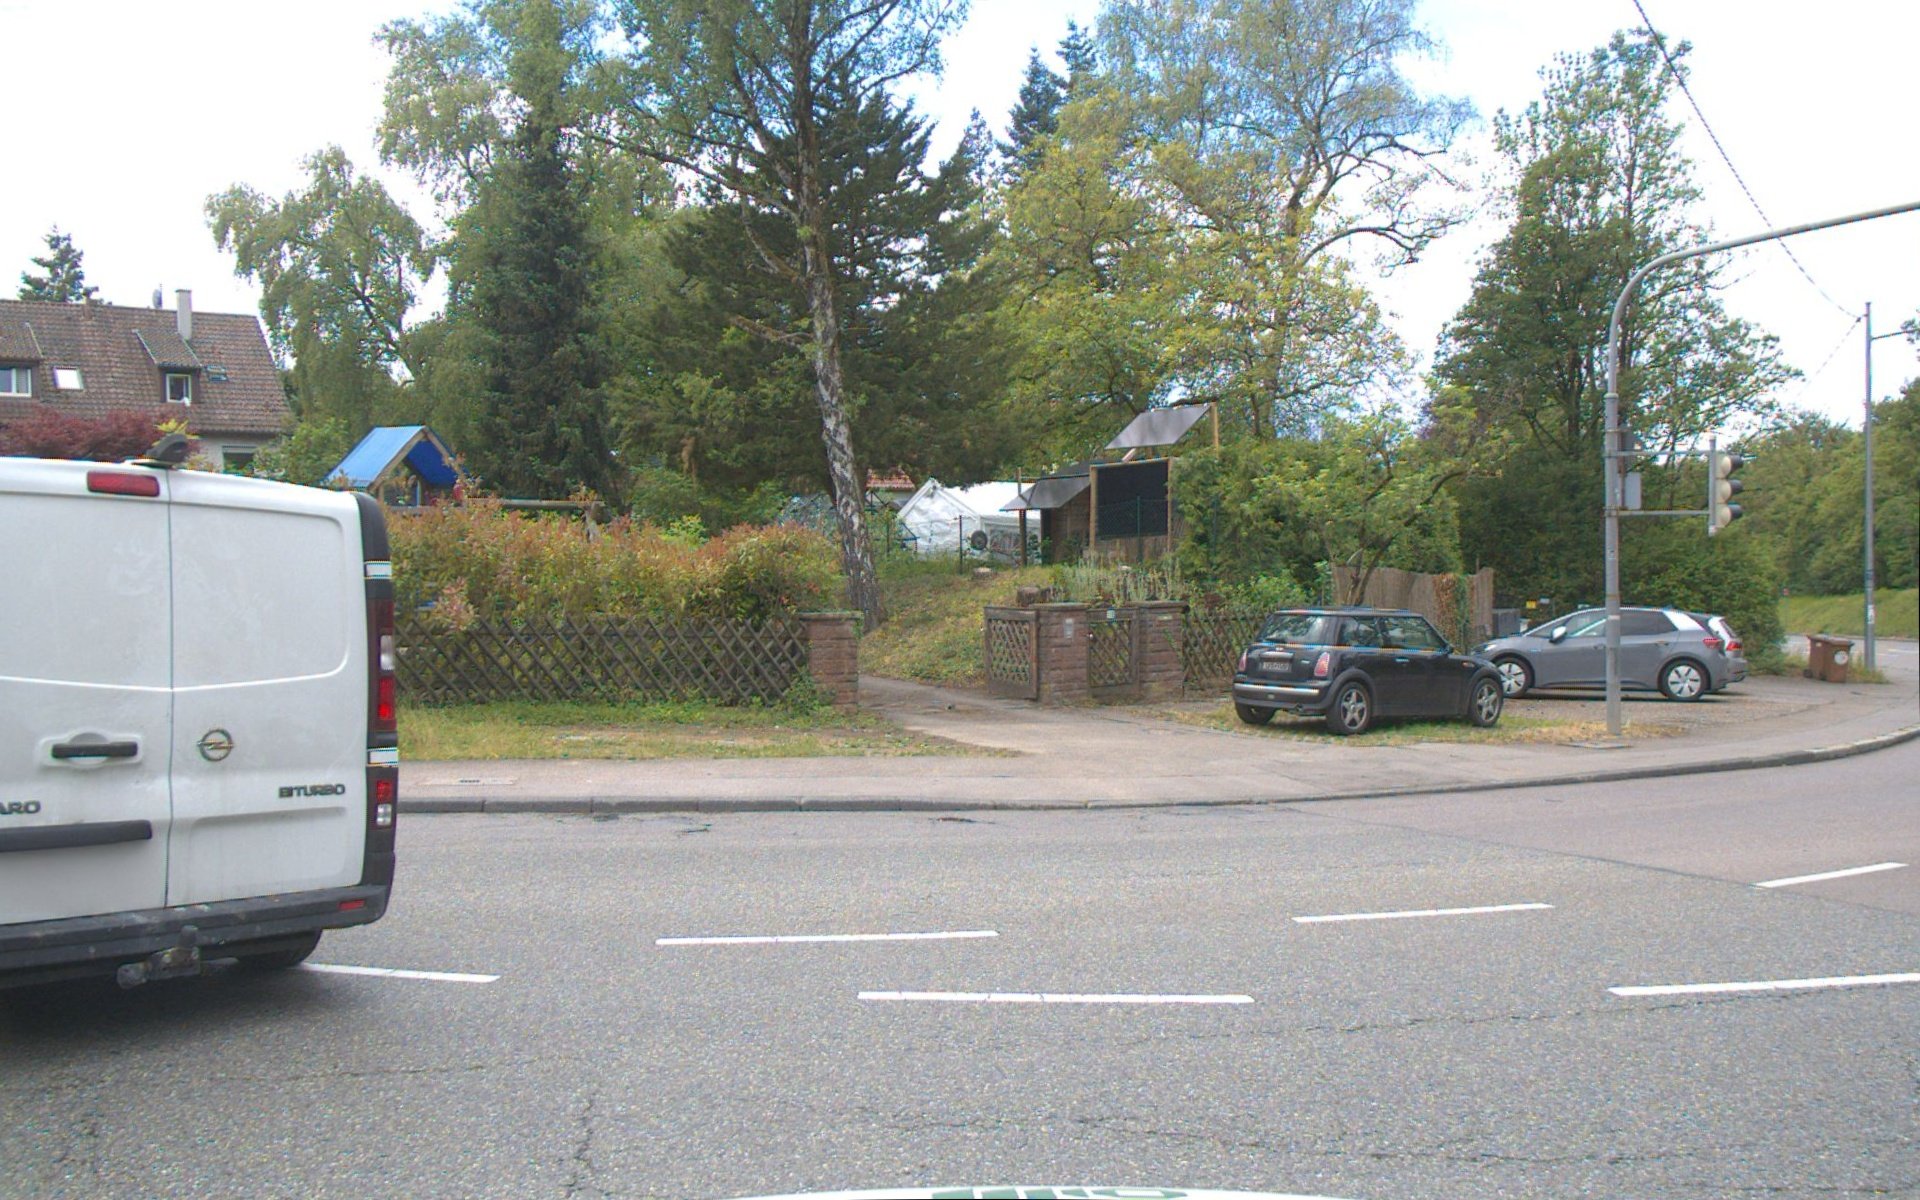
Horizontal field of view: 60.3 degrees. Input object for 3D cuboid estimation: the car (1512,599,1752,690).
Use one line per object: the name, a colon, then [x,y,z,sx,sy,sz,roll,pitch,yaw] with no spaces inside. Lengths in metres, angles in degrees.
car: [12.357,0.791,30.647,4.001,1.580,1.855,0,1,20]

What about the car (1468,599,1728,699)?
car: [10.779,0.796,28.140,4.001,1.580,1.855,0,1,20]

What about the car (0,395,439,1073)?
car: [-4.287,0.366,7.027,4.530,2.089,1.912,1,2,41]

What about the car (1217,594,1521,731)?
car: [4.937,0.695,19.845,3.502,1.474,1.682,1,0,-35]
